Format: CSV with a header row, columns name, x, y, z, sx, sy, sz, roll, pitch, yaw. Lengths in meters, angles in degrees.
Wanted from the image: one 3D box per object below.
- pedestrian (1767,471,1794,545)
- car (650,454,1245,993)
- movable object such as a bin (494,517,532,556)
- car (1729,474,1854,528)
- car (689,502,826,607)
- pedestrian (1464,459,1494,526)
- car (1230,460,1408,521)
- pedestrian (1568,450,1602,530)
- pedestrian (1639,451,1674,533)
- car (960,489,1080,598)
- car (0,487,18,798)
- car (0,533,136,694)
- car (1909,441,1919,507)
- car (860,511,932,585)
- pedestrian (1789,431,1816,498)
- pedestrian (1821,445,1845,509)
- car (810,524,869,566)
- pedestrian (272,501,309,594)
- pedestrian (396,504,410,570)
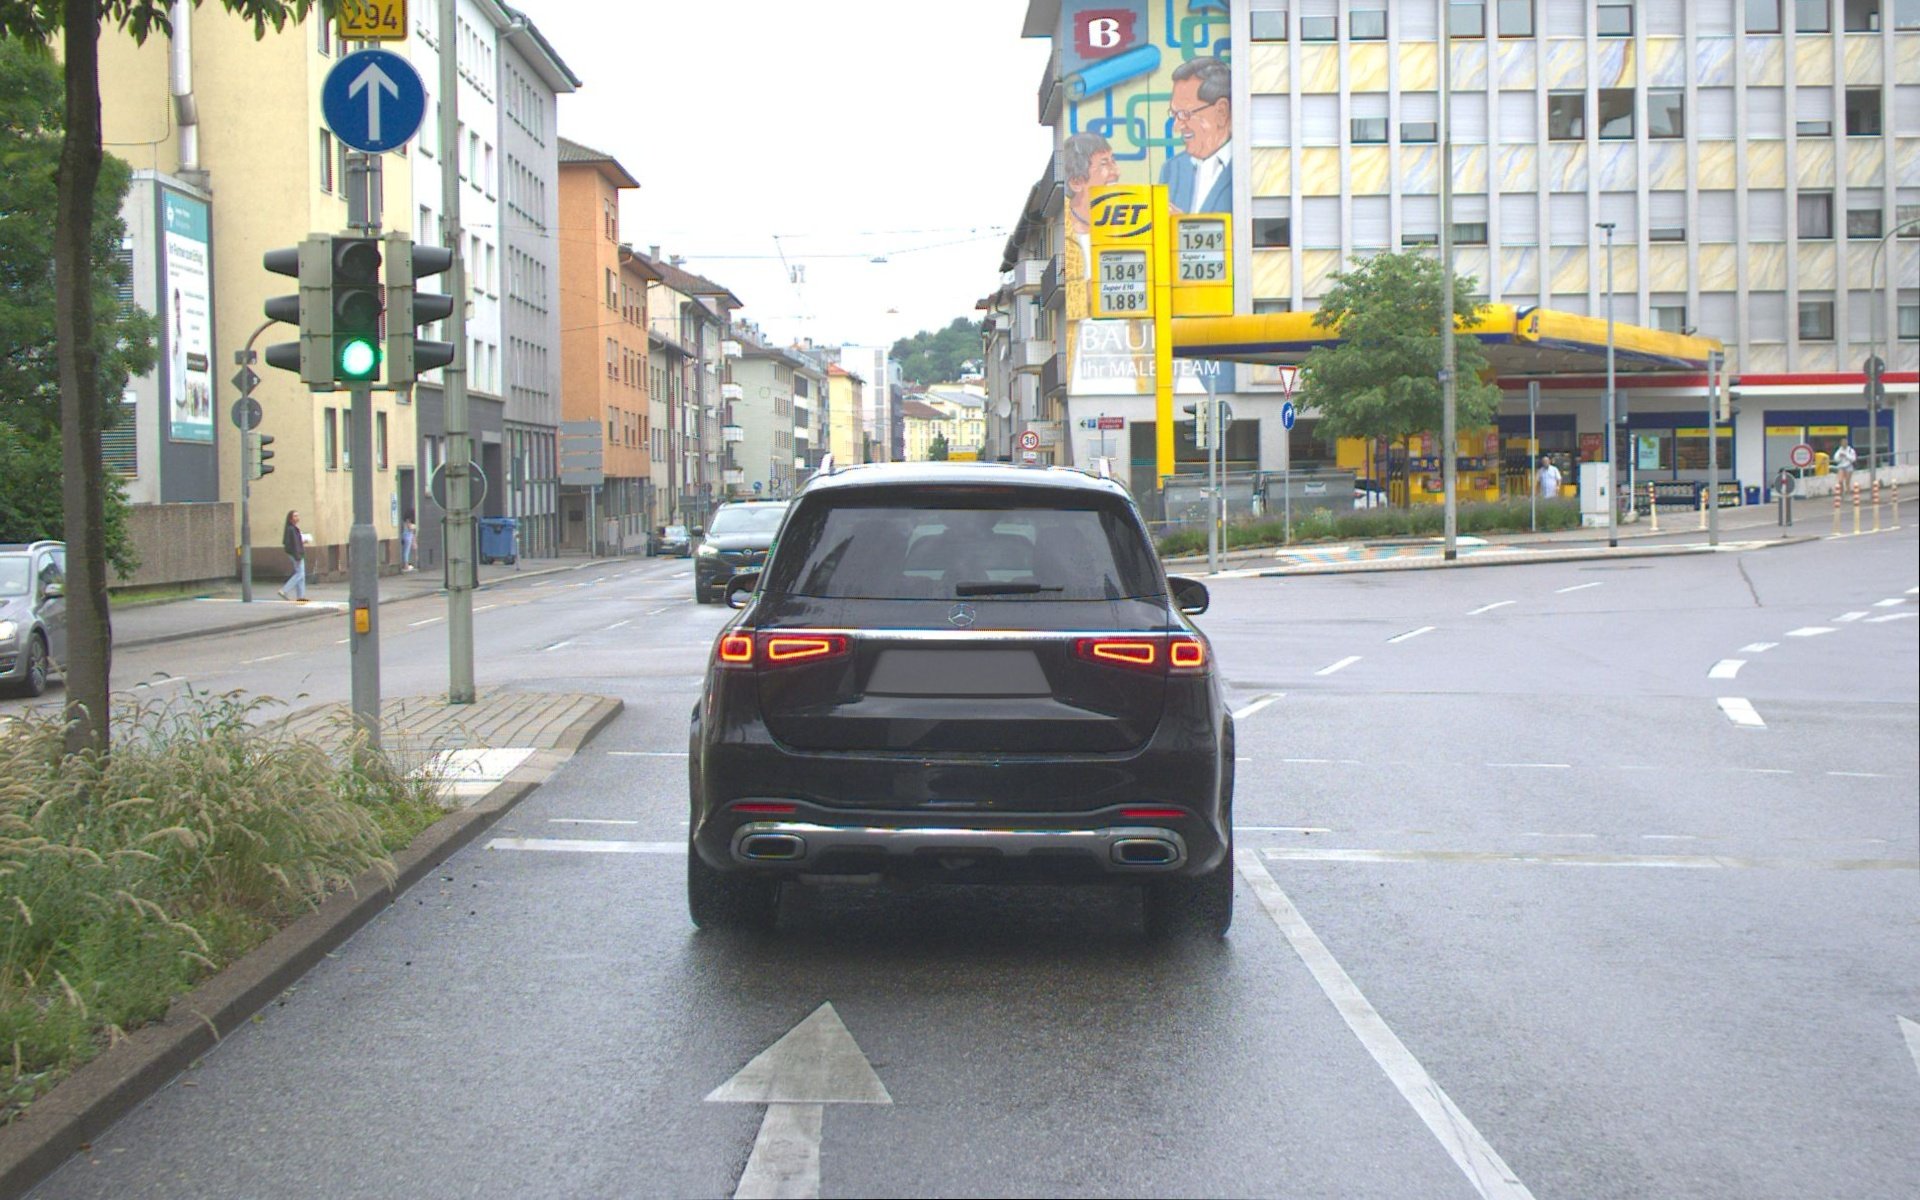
name,x,y,z,sx,sy,sz,roll,pitch,yaw
pedestrian,15.767,-1.765,66.050,0.396,1.395,0.446,1,0,1
car,-0.045,0.424,13.765,1.993,1.794,4.000,1,0,0
movable object such as a bin,-12.206,-1.740,93.907,0.910,1.034,0.844,1,0,1
car,24.269,-2.876,100.272,1.998,1.393,3.991,1,0,39
car,-3.297,-0.724,56.729,1.993,1.609,4.190,1,0,0
pedestrian,13.320,-2.759,88.225,0.527,1.721,0.688,0,1,30
car,8.461,-2.578,81.153,1.732,1.371,3.998,-2,2,-43
pedestrian,13.488,-2.368,74.189,0.526,1.721,0.688,0,1,27
pedestrian,14.725,-2.287,72.712,0.572,1.692,0.631,1,0,1
car,1.029,-0.963,60.583,1.993,1.794,4.000,1,0,0
car,-6.520,0.313,18.300,1.792,1.847,4.793,-3,1,-2
car,-9.631,0.111,34.087,1.846,1.424,4.435,-2,2,-1
car,26.811,-3.357,91.115,1.997,1.700,3.993,0,2,34
car,-1.837,-1.479,98.563,1.993,2.007,4.000,1,0,-1
pedestrian,21.818,-3.499,89.028,0.526,1.721,0.688,0,1,27
pedestrian,22.434,-3.162,88.332,0.484,1.635,0.438,1,0,29
car,-4.781,-2.164,136.961,1.994,1.542,4.189,1,0,2
pedestrian,-12.467,-0.977,64.076,0.627,1.721,0.650,-1,1,-10
pedestrian,-13.846,-1.569,85.447,0.245,1.619,0.411,1,0,1
